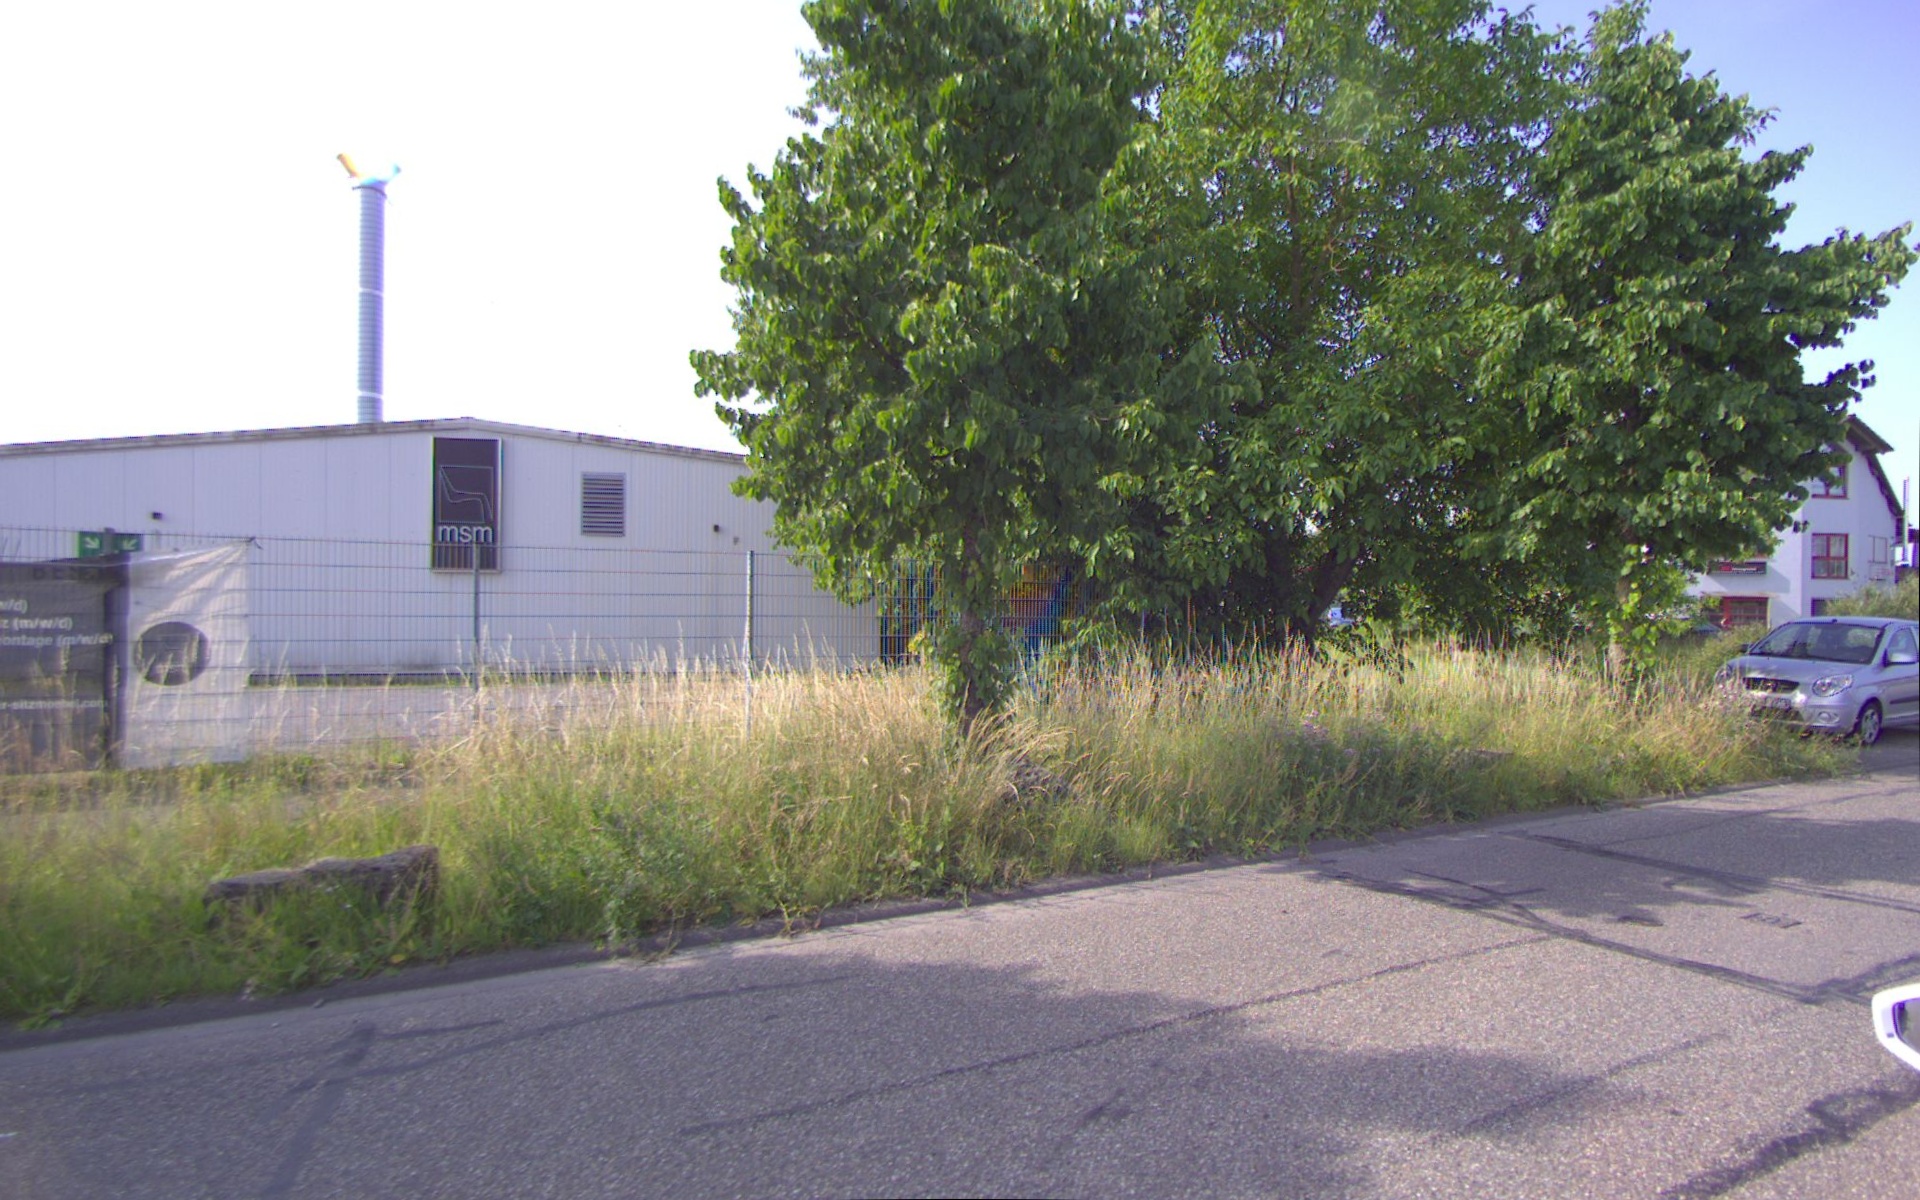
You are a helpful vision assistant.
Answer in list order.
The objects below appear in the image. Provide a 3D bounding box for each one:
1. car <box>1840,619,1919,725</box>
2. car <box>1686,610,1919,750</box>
[{"bbox_3d":[15.191,1.050,15.100,3.911,1.463,1.573,1,1,-27],"label":"car"},{"bbox_3d":[11.311,0.943,12.983,3.639,1.559,1.561,1,1,-26],"label":"car"}]
